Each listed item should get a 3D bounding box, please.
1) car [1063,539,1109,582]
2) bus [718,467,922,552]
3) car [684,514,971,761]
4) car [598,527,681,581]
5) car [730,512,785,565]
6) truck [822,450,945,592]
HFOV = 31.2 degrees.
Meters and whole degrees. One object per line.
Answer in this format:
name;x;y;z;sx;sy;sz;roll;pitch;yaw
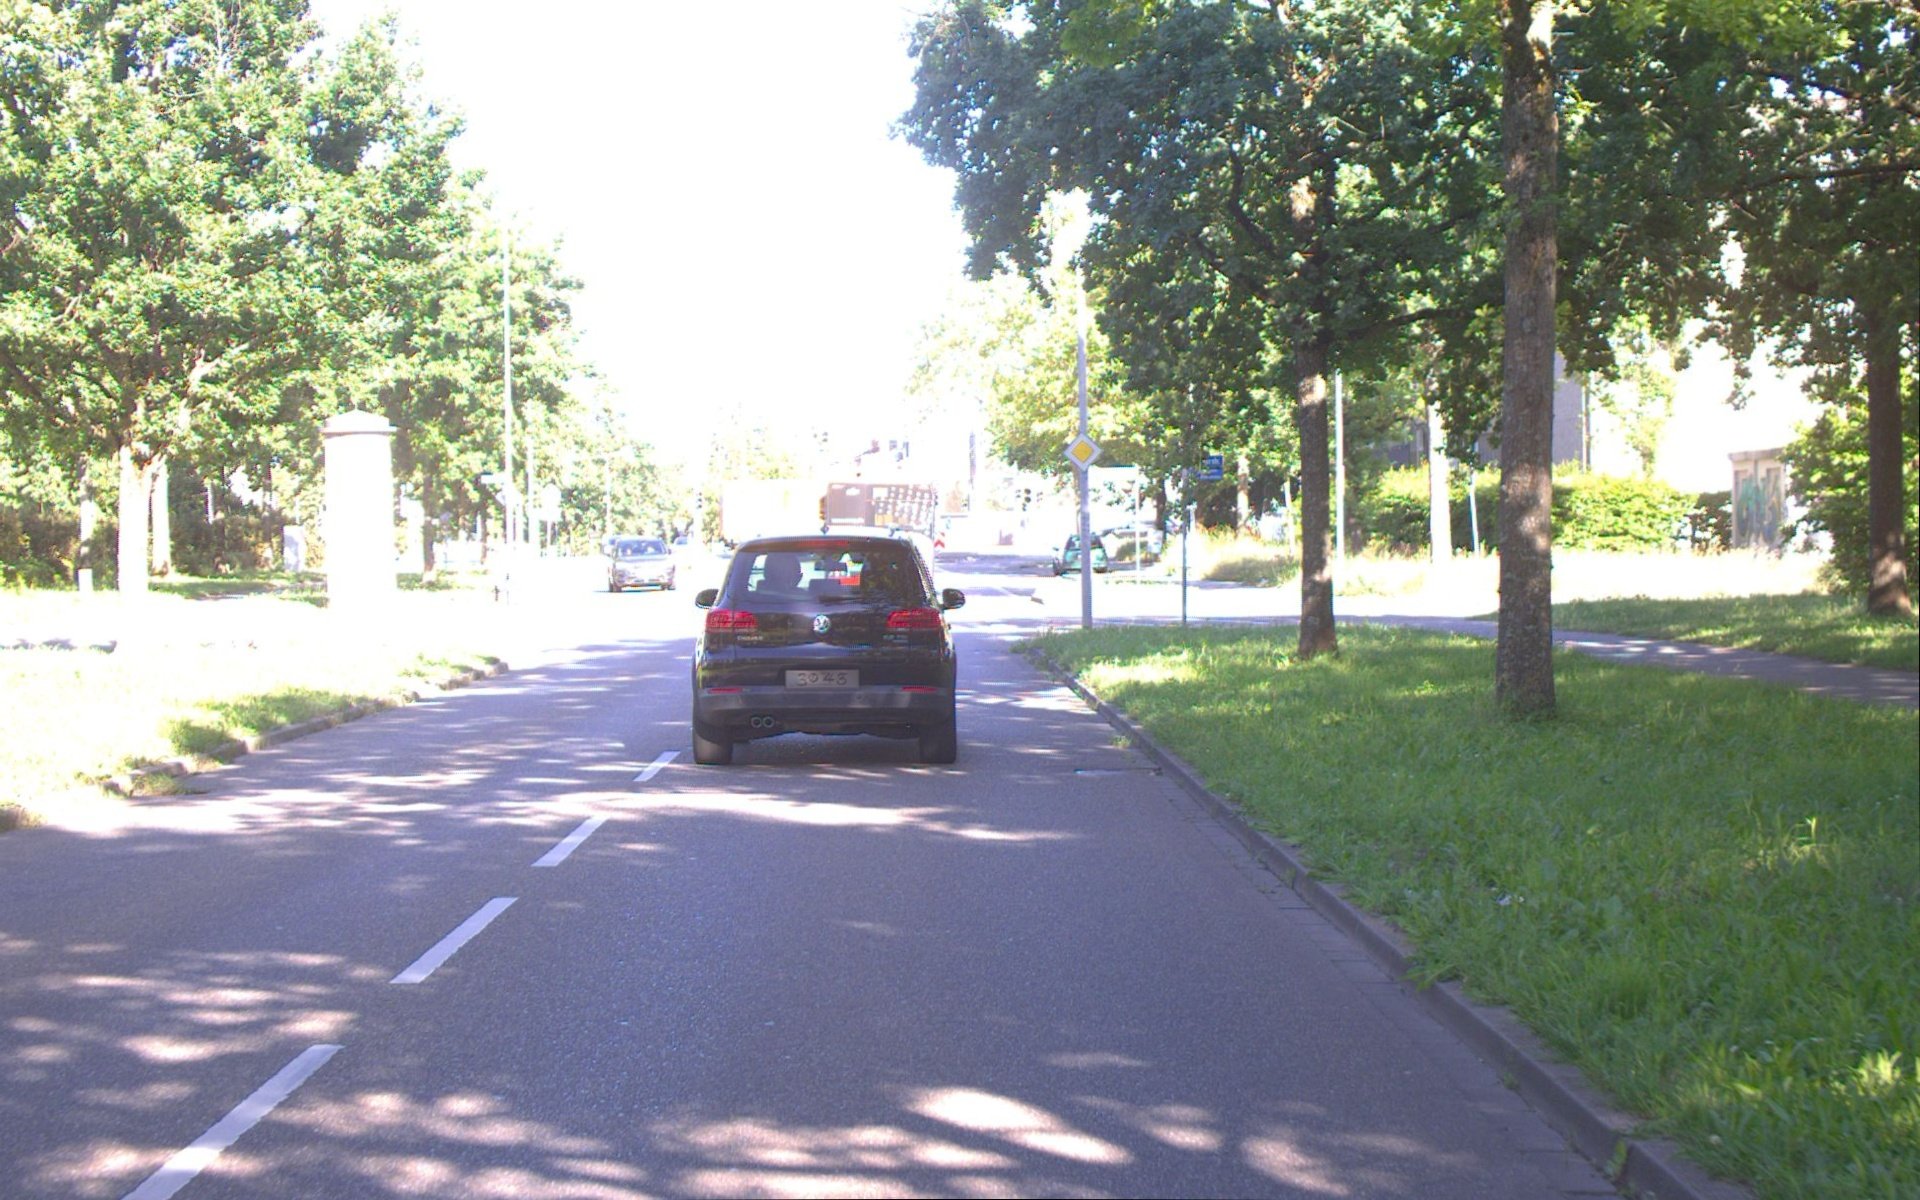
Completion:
car;4.255;-1.352;116.608;1.452;1.401;2.856;1;1;1
bus;-6.574;-4.235;160.551;9.101;3.765;3.388;1;1;-9
car;-0.889;0.205;25.090;1.782;1.628;4.000;1;1;2
car;-9.055;-1.319;97.363;1.993;1.450;4.000;-1;1;-1
car;-7.973;-2.440;135.086;1.993;2.007;4.001;1;1;-6
truck;-1.769;-1.922;83.055;2.512;3.232;8.152;-1;1;2
